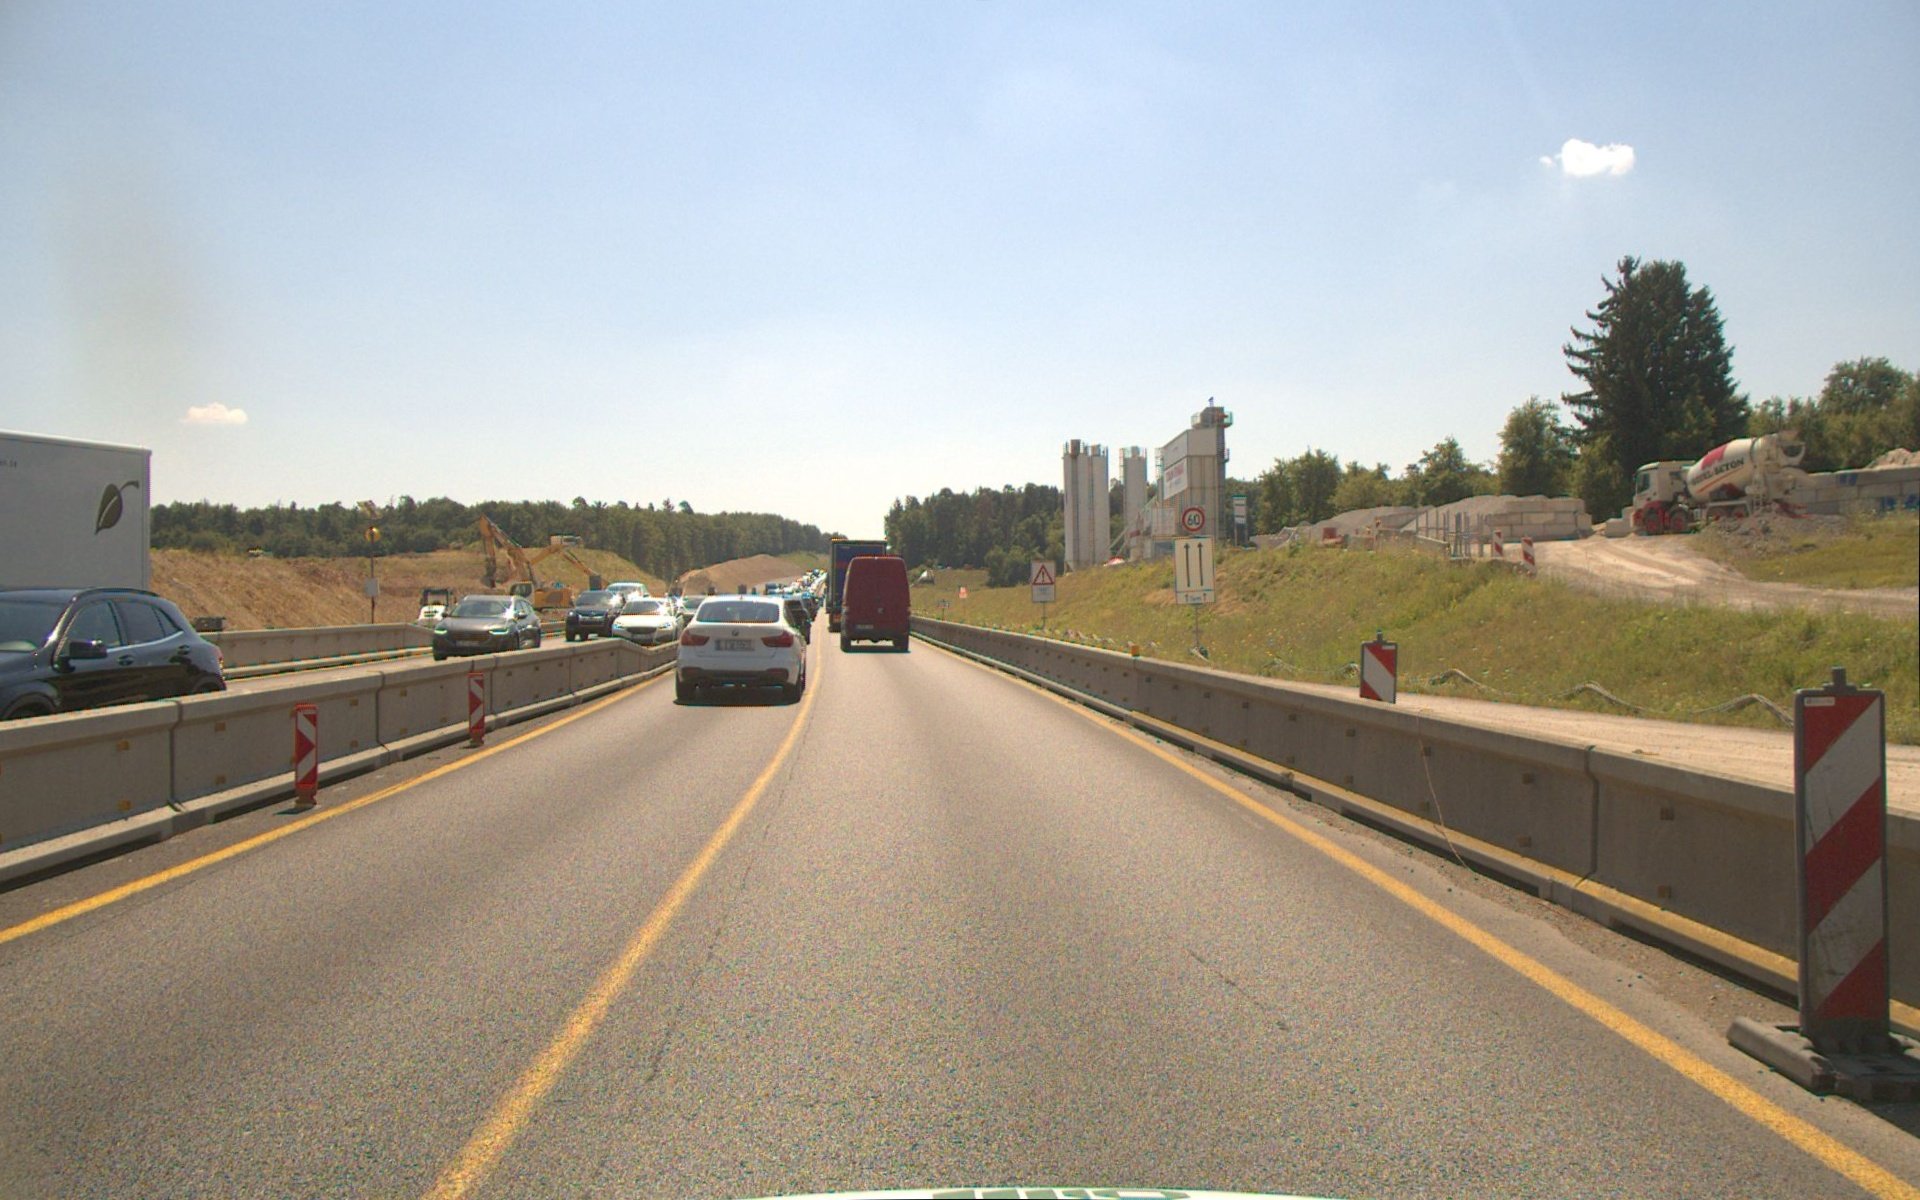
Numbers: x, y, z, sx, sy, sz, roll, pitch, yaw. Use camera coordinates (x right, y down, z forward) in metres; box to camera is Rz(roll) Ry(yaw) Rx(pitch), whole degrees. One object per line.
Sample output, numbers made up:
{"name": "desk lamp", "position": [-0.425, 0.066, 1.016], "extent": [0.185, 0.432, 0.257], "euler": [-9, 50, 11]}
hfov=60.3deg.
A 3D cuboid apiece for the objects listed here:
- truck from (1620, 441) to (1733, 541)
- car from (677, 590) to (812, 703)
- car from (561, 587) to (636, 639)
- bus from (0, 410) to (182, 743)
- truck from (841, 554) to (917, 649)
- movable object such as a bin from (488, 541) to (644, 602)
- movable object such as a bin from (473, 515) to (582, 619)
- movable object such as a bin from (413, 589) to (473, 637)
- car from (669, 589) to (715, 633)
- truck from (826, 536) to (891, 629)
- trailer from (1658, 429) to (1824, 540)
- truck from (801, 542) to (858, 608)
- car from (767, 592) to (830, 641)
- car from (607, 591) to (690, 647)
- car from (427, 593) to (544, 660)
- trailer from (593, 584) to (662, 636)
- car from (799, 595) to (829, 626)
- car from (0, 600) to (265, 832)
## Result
{"name": "truck", "position": [31.734, -4.748, 73.358], "extent": [2.698, 4.167, 4.086], "euler": [0, 0, -14]}
{"name": "car", "position": [-3.210, 0.647, 25.470], "extent": [1.760, 1.561, 5.069], "euler": [1, 0, -4]}
{"name": "car", "position": [-12.421, 0.428, 57.073], "extent": [1.885, 1.708, 4.713], "euler": [0, 0, -4]}
{"name": "bus", "position": [-10.325, -0.218, 15.796], "extent": [2.301, 3.180, 7.229], "euler": [0, 0, 0]}
{"name": "truck", "position": [-2.539, 0.036, 50.297], "extent": [2.070, 2.679, 6.477], "euler": [0, 0, -5]}
{"name": "movable object such as a bin", "position": [-48.740, -3.523, 205.169], "extent": [18.354, 7.358, 3.610], "euler": [0, 0, -7]}
{"name": "movable object such as a bin", "position": [-33.170, -2.524, 127.100], "extent": [7.485, 7.848, 3.443], "euler": [0, 0, -4]}
{"name": "movable object such as a bin", "position": [-28.212, 0.661, 90.503], "extent": [1.668, 2.504, 6.738], "euler": [0, 0, -5]}
{"name": "car", "position": [-10.131, 0.384, 62.779], "extent": [1.662, 1.607, 4.125], "euler": [0, 0, -9]}
{"name": "truck", "position": [-4.916, -0.802, 79.585], "extent": [2.956, 4.225, 8.265], "euler": [0, 0, -4]}
{"name": "trailer", "position": [32.652, -4.741, 69.425], "extent": [2.709, 4.186, 6.722], "euler": [0, 0, -13]}
{"name": "truck", "position": [-9.915, -1.859, 126.803], "extent": [3.608, 4.773, 9.752], "euler": [0, 0, 0]}
{"name": "car", "position": [-5.353, 0.536, 55.195], "extent": [1.758, 1.561, 3.930], "euler": [0, 0, -1]}
{"name": "car", "position": [-8.790, 0.509, 46.991], "extent": [1.780, 1.481, 4.631], "euler": [0, 0, -4]}
{"name": "car", "position": [-10.876, 0.571, 38.227], "extent": [1.786, 1.448, 4.641], "euler": [0, 0, -6]}
{"name": "trailer", "position": [-13.301, 0.368, 66.494], "extent": [2.089, 2.017, 5.230], "euler": [0, 0, -4]}
{"name": "car", "position": [-9.984, 0.720, 113.341], "extent": [1.954, 2.049, 3.996], "euler": [0, 0, -4]}
{"name": "car", "position": [-6.934, 0.731, 12.192], "extent": [1.771, 1.439, 4.398], "euler": [0, 0, 0]}
